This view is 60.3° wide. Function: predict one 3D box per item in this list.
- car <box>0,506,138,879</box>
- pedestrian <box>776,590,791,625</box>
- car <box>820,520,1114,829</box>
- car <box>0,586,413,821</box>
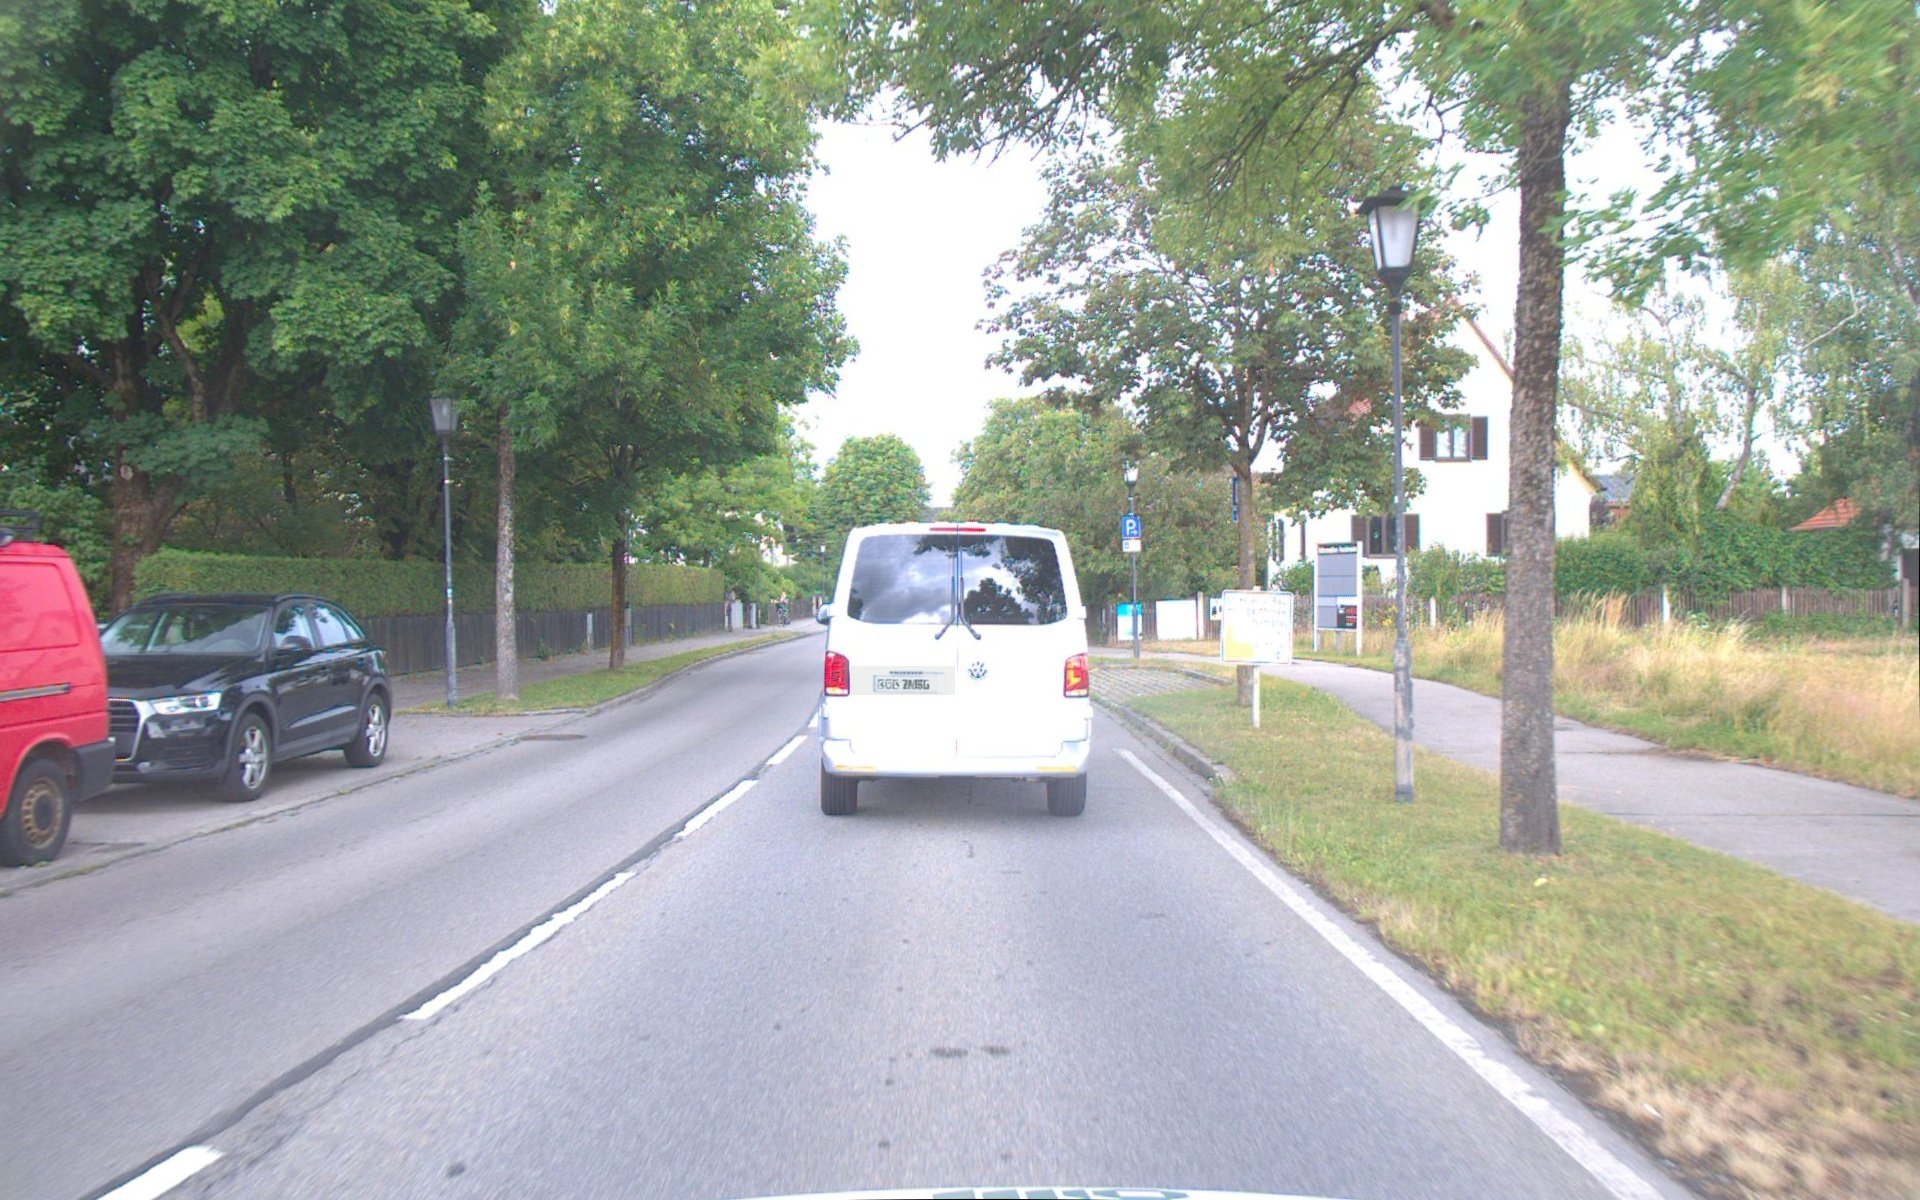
[{"bbox_3d":[-6.224,0.508,8.075,1.792,2.066,5.047,1,1,1],"label":"car"},{"bbox_3d":[-7.981,0.351,74.639,0.610,1.576,0.522,1,0,-4],"label":"pedestrian"},{"bbox_3d":[0.043,0.471,12.441,1.849,1.945,4.000,0,0,0],"label":"car"},{"bbox_3d":[-6.178,0.718,13.848,1.735,1.626,4.238,0,1,1],"label":"car"}]
